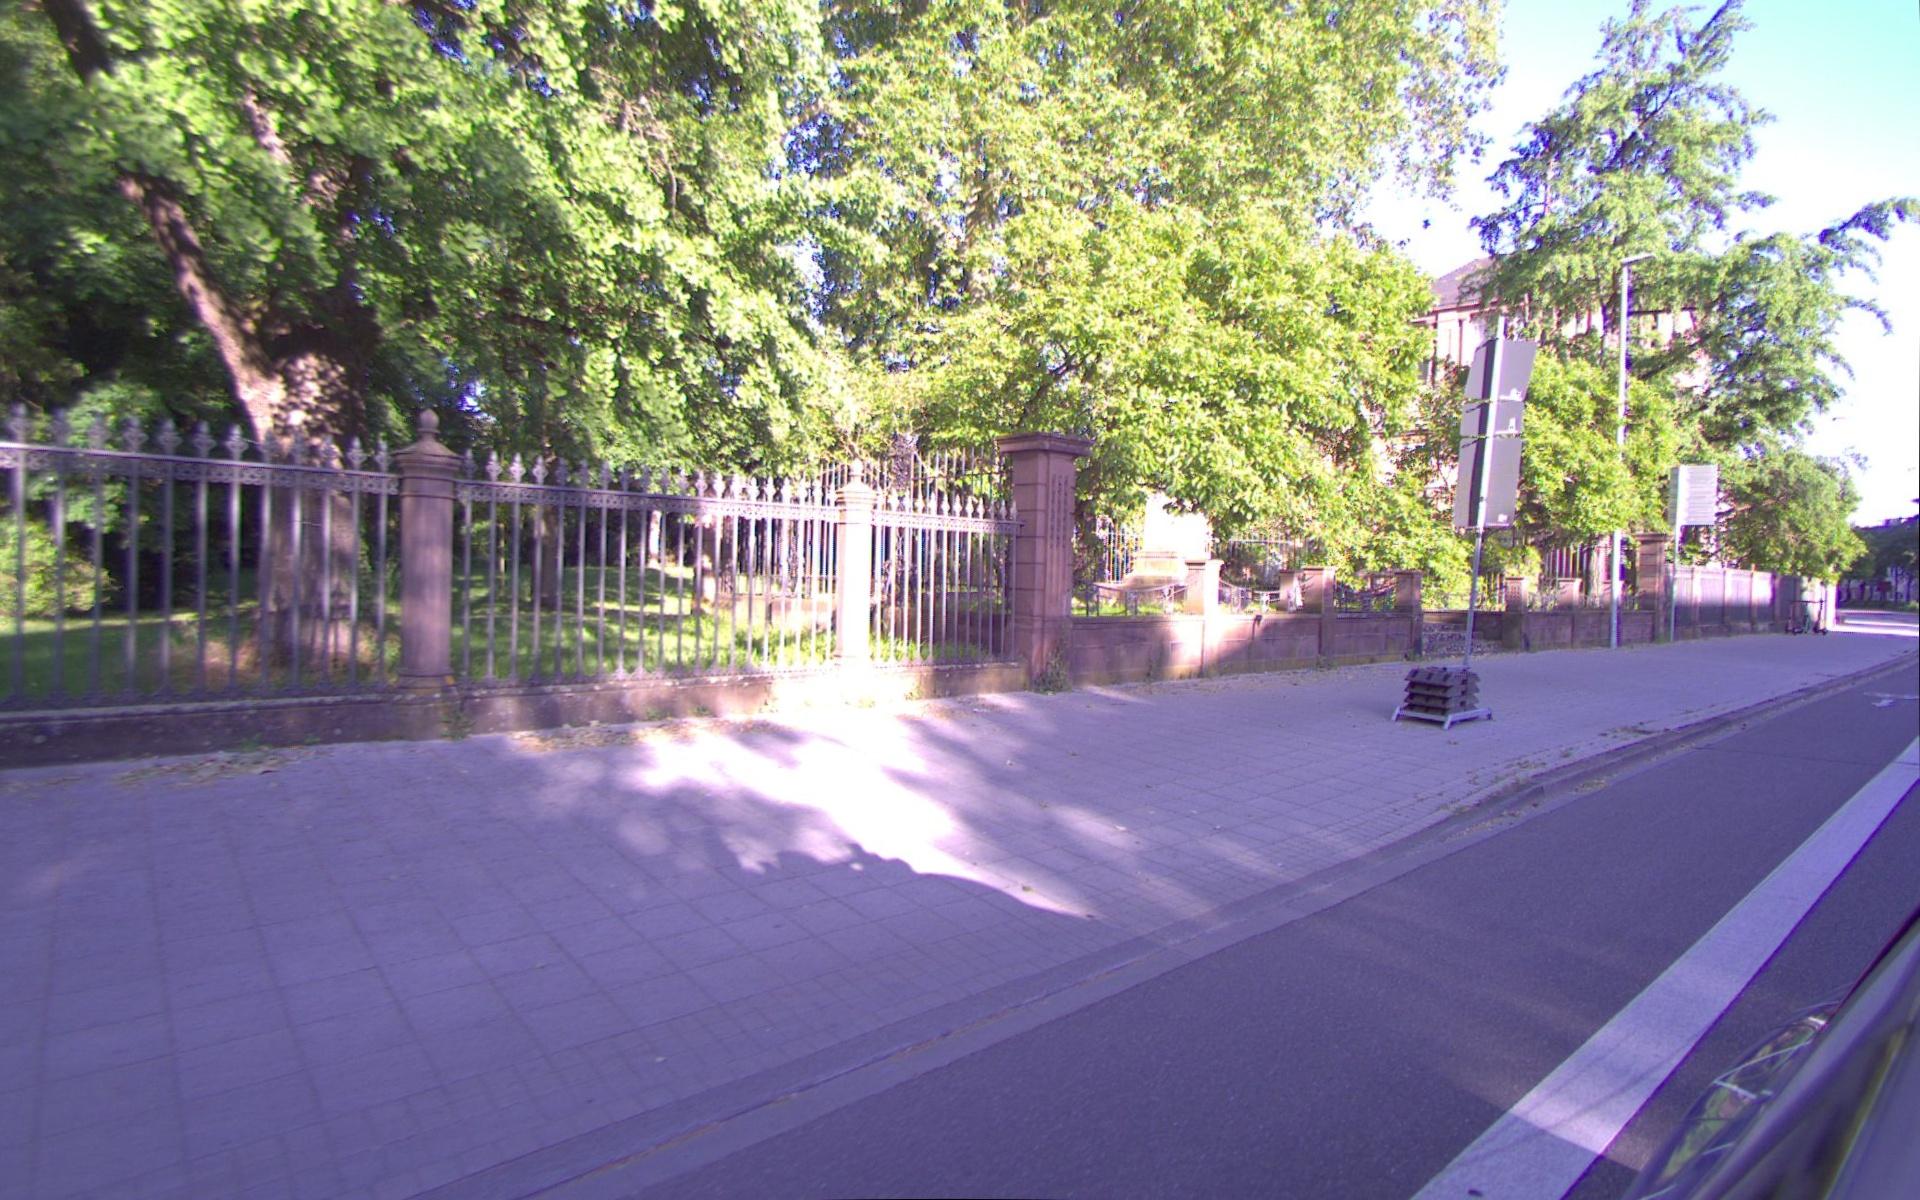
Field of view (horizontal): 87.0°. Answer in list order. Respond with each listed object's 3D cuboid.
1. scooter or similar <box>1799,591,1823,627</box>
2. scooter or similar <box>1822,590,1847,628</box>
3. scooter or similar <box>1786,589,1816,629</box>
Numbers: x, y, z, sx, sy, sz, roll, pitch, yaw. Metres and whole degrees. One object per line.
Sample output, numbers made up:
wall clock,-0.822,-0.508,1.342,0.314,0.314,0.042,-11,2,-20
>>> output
scooter or similar,29.647,0.297,35.255,0.574,1.199,1.465,3,2,41
scooter or similar,30.749,0.304,35.596,0.514,1.255,1.502,3,2,37
scooter or similar,28.291,0.292,34.041,0.572,1.269,1.470,3,2,33
